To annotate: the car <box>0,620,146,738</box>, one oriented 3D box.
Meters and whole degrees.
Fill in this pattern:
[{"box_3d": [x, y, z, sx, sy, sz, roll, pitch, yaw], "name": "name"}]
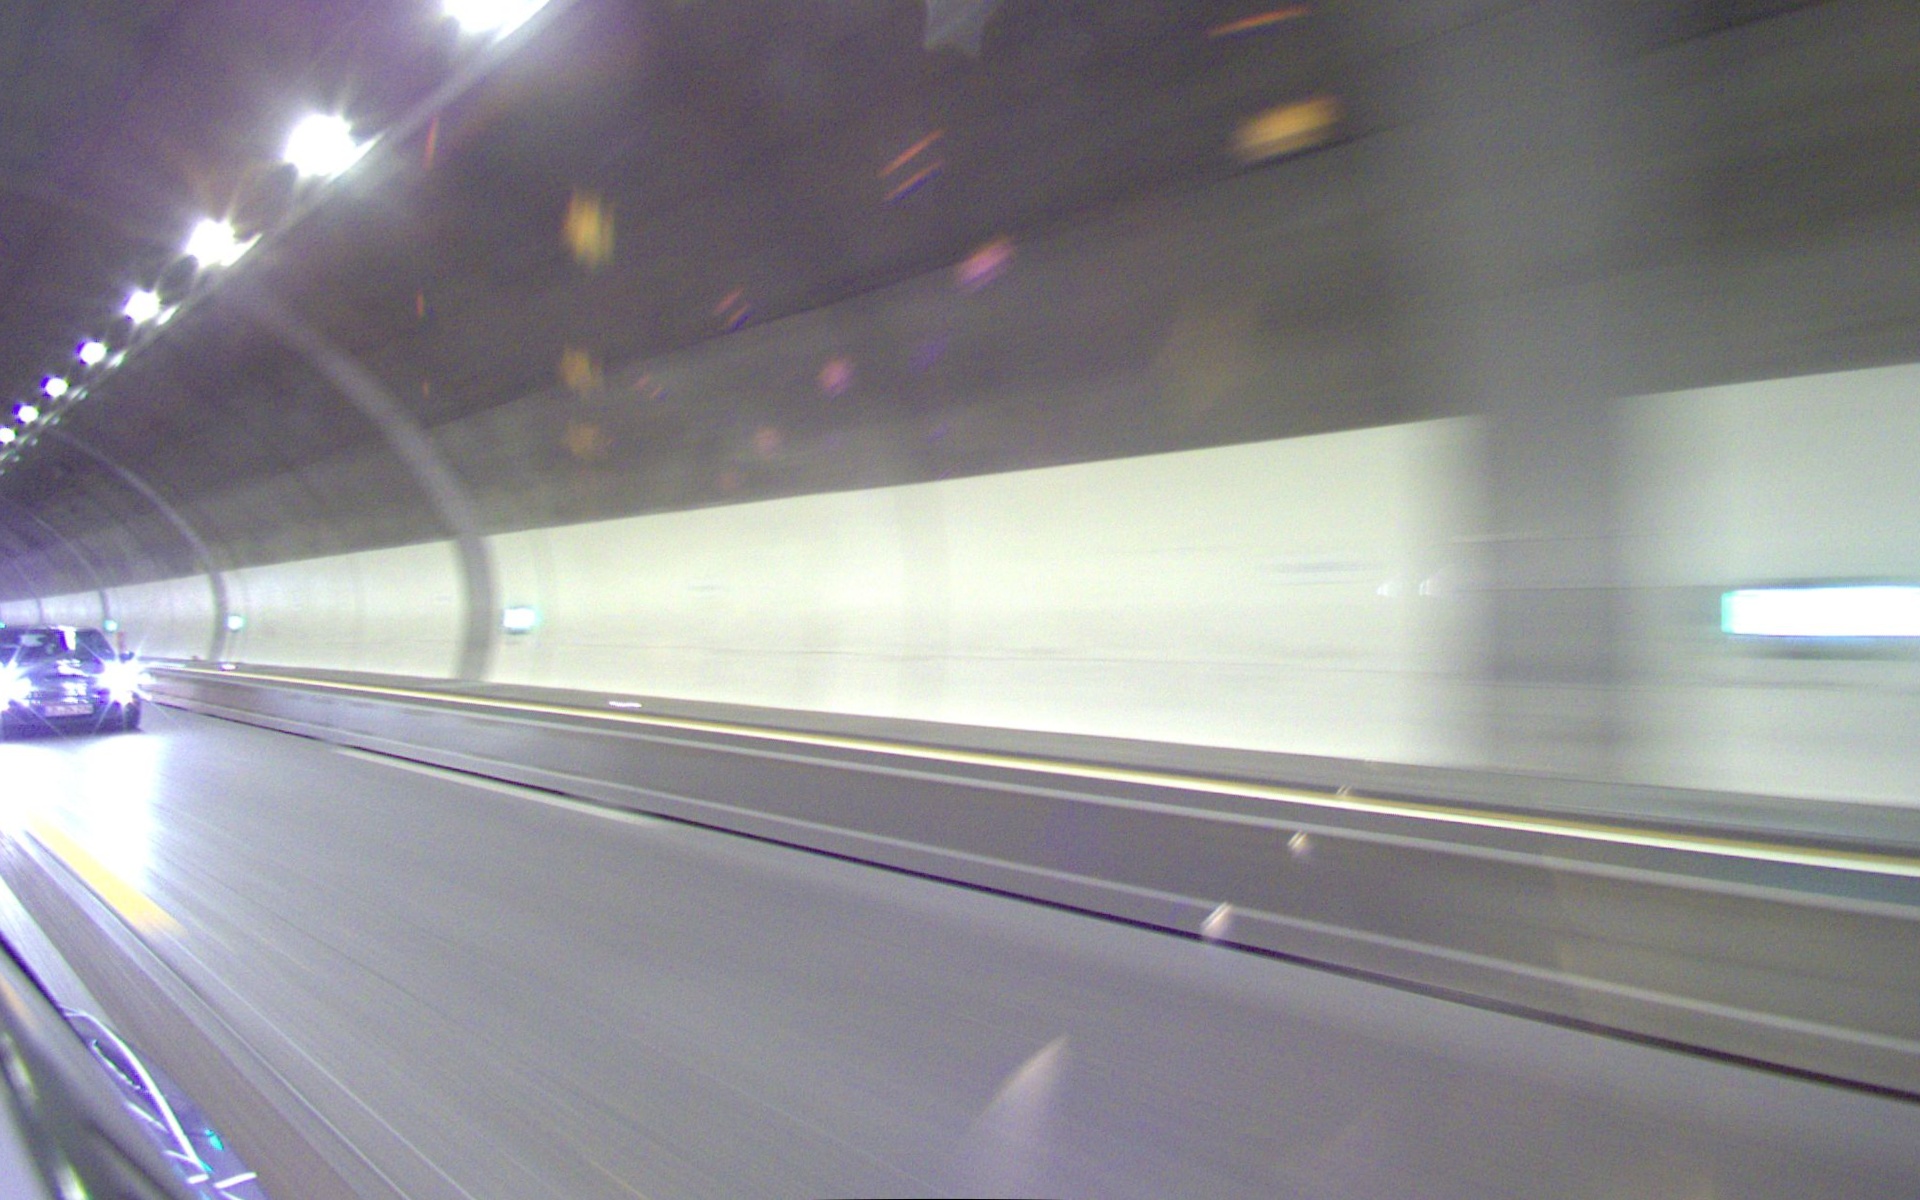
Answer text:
[{"box_3d": [-12.546, 0.988, 13.804, 3.655, 1.414, 1.635, -1, -1, 41], "name": "car"}]
